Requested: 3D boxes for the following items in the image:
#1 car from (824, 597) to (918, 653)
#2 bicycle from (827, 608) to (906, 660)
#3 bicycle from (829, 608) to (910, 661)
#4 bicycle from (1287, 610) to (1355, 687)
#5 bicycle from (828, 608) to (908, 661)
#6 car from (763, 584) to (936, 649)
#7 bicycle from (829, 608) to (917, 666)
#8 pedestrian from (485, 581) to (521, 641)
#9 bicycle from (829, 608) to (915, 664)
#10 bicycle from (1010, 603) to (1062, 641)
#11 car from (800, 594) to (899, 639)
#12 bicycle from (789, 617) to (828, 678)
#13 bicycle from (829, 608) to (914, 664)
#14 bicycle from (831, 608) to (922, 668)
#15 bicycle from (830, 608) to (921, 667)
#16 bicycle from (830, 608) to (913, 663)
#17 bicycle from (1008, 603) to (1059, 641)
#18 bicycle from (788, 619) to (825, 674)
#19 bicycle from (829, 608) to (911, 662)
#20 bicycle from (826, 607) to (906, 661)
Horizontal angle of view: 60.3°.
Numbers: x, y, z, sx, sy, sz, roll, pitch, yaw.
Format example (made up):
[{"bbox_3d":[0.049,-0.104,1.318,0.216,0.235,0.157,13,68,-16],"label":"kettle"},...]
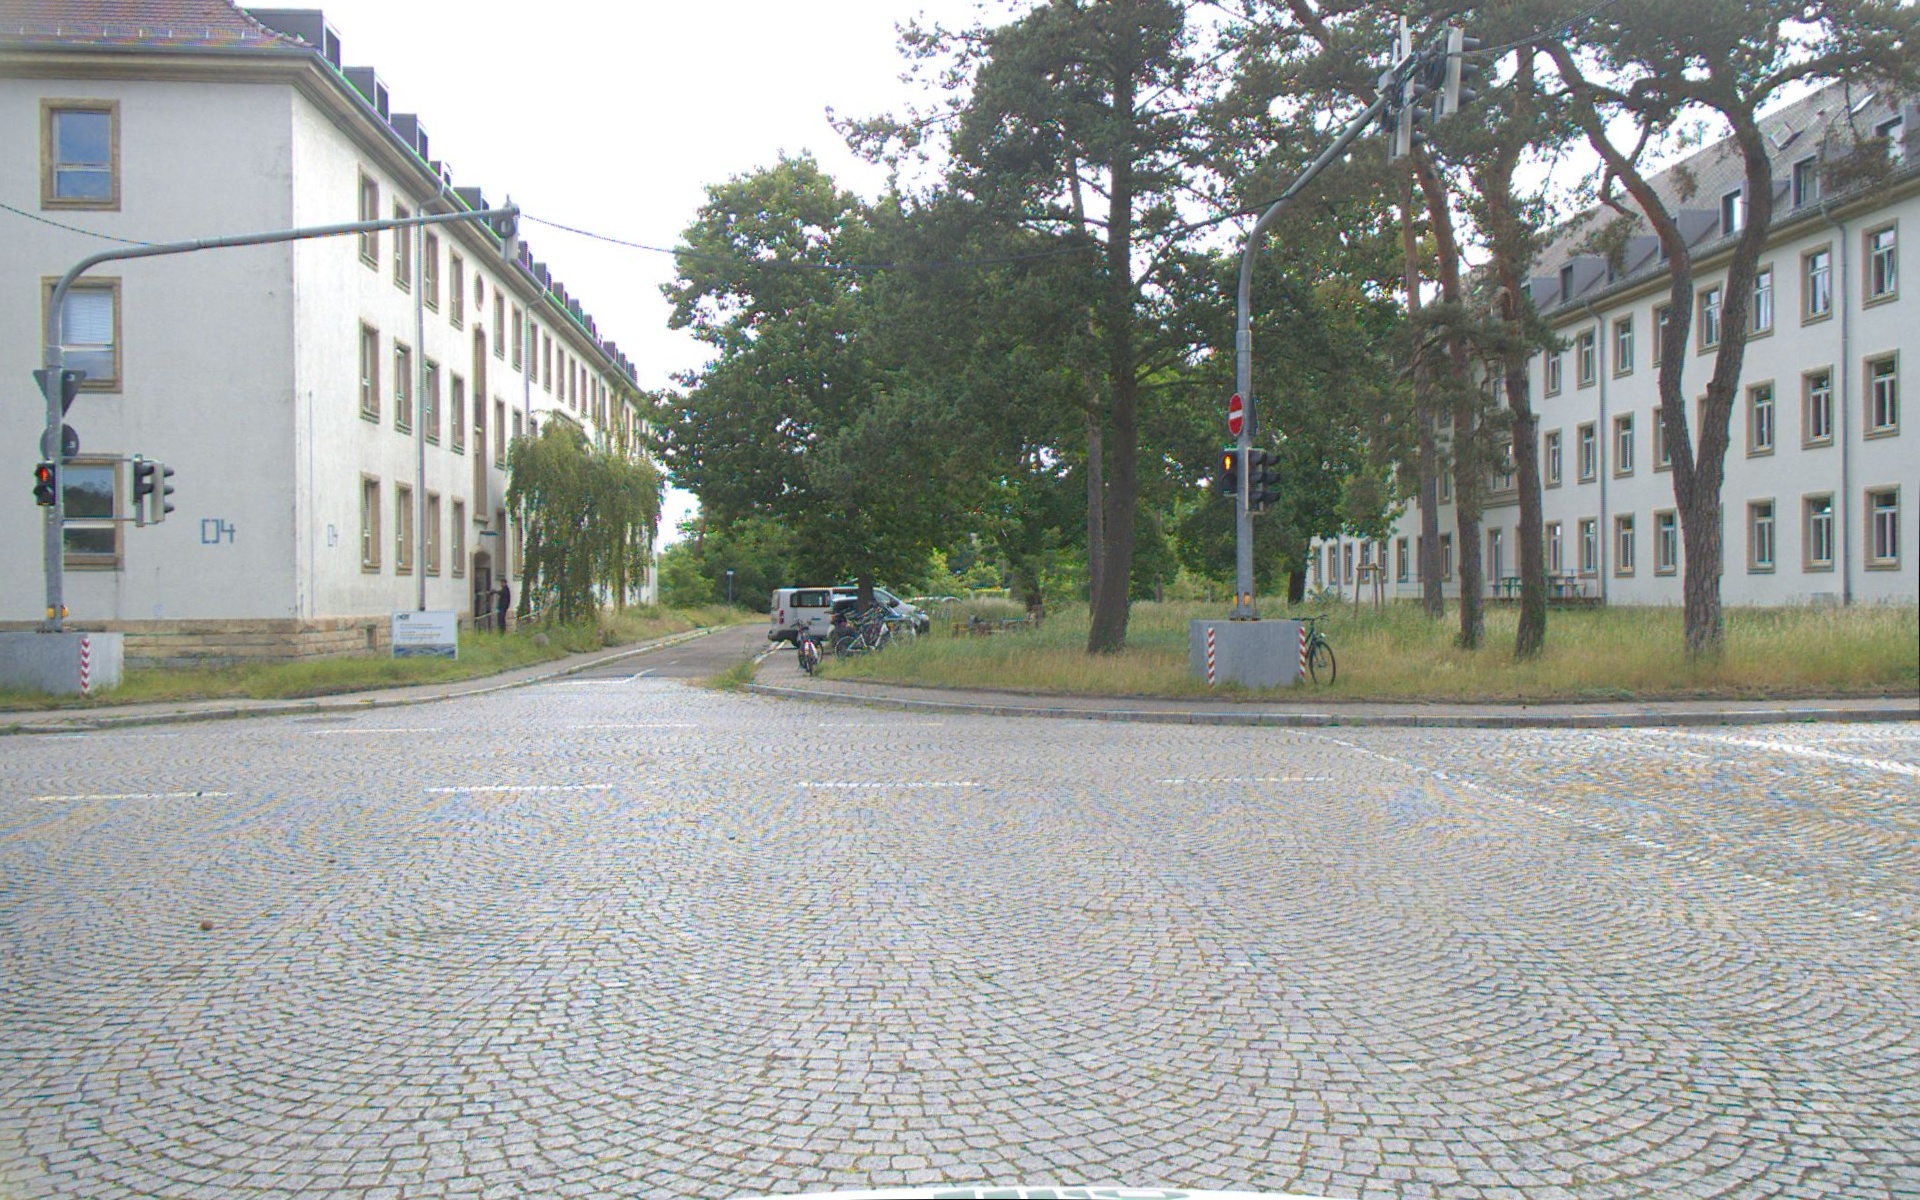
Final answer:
[{"bbox_3d":[-2.721,0.756,50.307,2.792,1.585,1.470,-1,1,-5],"label":"car"},{"bbox_3d":[-2.336,0.855,41.350,1.944,1.269,0.623,1,-1,-6],"label":"bicycle"},{"bbox_3d":[-2.213,0.849,40.350,1.944,1.269,0.623,1,-1,-6],"label":"bicycle"},{"bbox_3d":[5.182,0.680,23.827,0.568,0.987,1.678,-2,2,0],"label":"bicycle"},{"bbox_3d":[-2.278,0.852,40.859,1.944,1.269,0.623,1,-1,-6],"label":"bicycle"},{"bbox_3d":[-3.605,0.514,53.722,5.224,1.949,2.138,-1,0,-19],"label":"car"},{"bbox_3d":[-1.955,0.827,37.268,1.944,1.269,0.623,1,-1,-6],"label":"bicycle"},{"bbox_3d":[-14.004,0.343,50.703,0.820,1.812,0.941,0,0,1],"label":"pedestrian"},{"bbox_3d":[-2.028,0.833,38.123,1.944,1.269,0.623,1,-1,-6],"label":"bicycle"},{"bbox_3d":[2.284,0.661,49.640,1.518,1.144,0.401,0,0,-3],"label":"bicycle"},{"bbox_3d":[-4.518,0.664,67.568,3.953,1.748,1.679,-1,0,-6],"label":"car"},{"bbox_3d":[-2.940,0.911,32.246,0.609,1.133,1.988,1,-1,-1],"label":"bicycle"},{"bbox_3d":[-2.076,0.838,38.754,1.944,1.269,0.623,1,-1,-6],"label":"bicycle"},{"bbox_3d":[-1.810,0.817,35.720,1.944,1.269,0.623,1,-1,-6],"label":"bicycle"},{"bbox_3d":[-1.863,0.821,36.346,1.944,1.269,0.623,1,-1,-6],"label":"bicycle"},{"bbox_3d":[-2.105,0.841,39.278,1.944,1.269,0.623,1,-1,-6],"label":"bicycle"},{"bbox_3d":[2.256,0.668,50.872,1.518,1.144,0.401,0,0,-3],"label":"bicycle"},{"bbox_3d":[-3.170,0.940,34.187,0.609,1.101,1.677,1,-1,0],"label":"bicycle"},{"bbox_3d":[-2.163,0.844,39.708,1.944,1.269,0.623,1,-1,-6],"label":"bicycle"},{"bbox_3d":[-2.393,0.860,42.006,1.944,1.269,0.623,-2,0,-6],"label":"bicycle"}]
